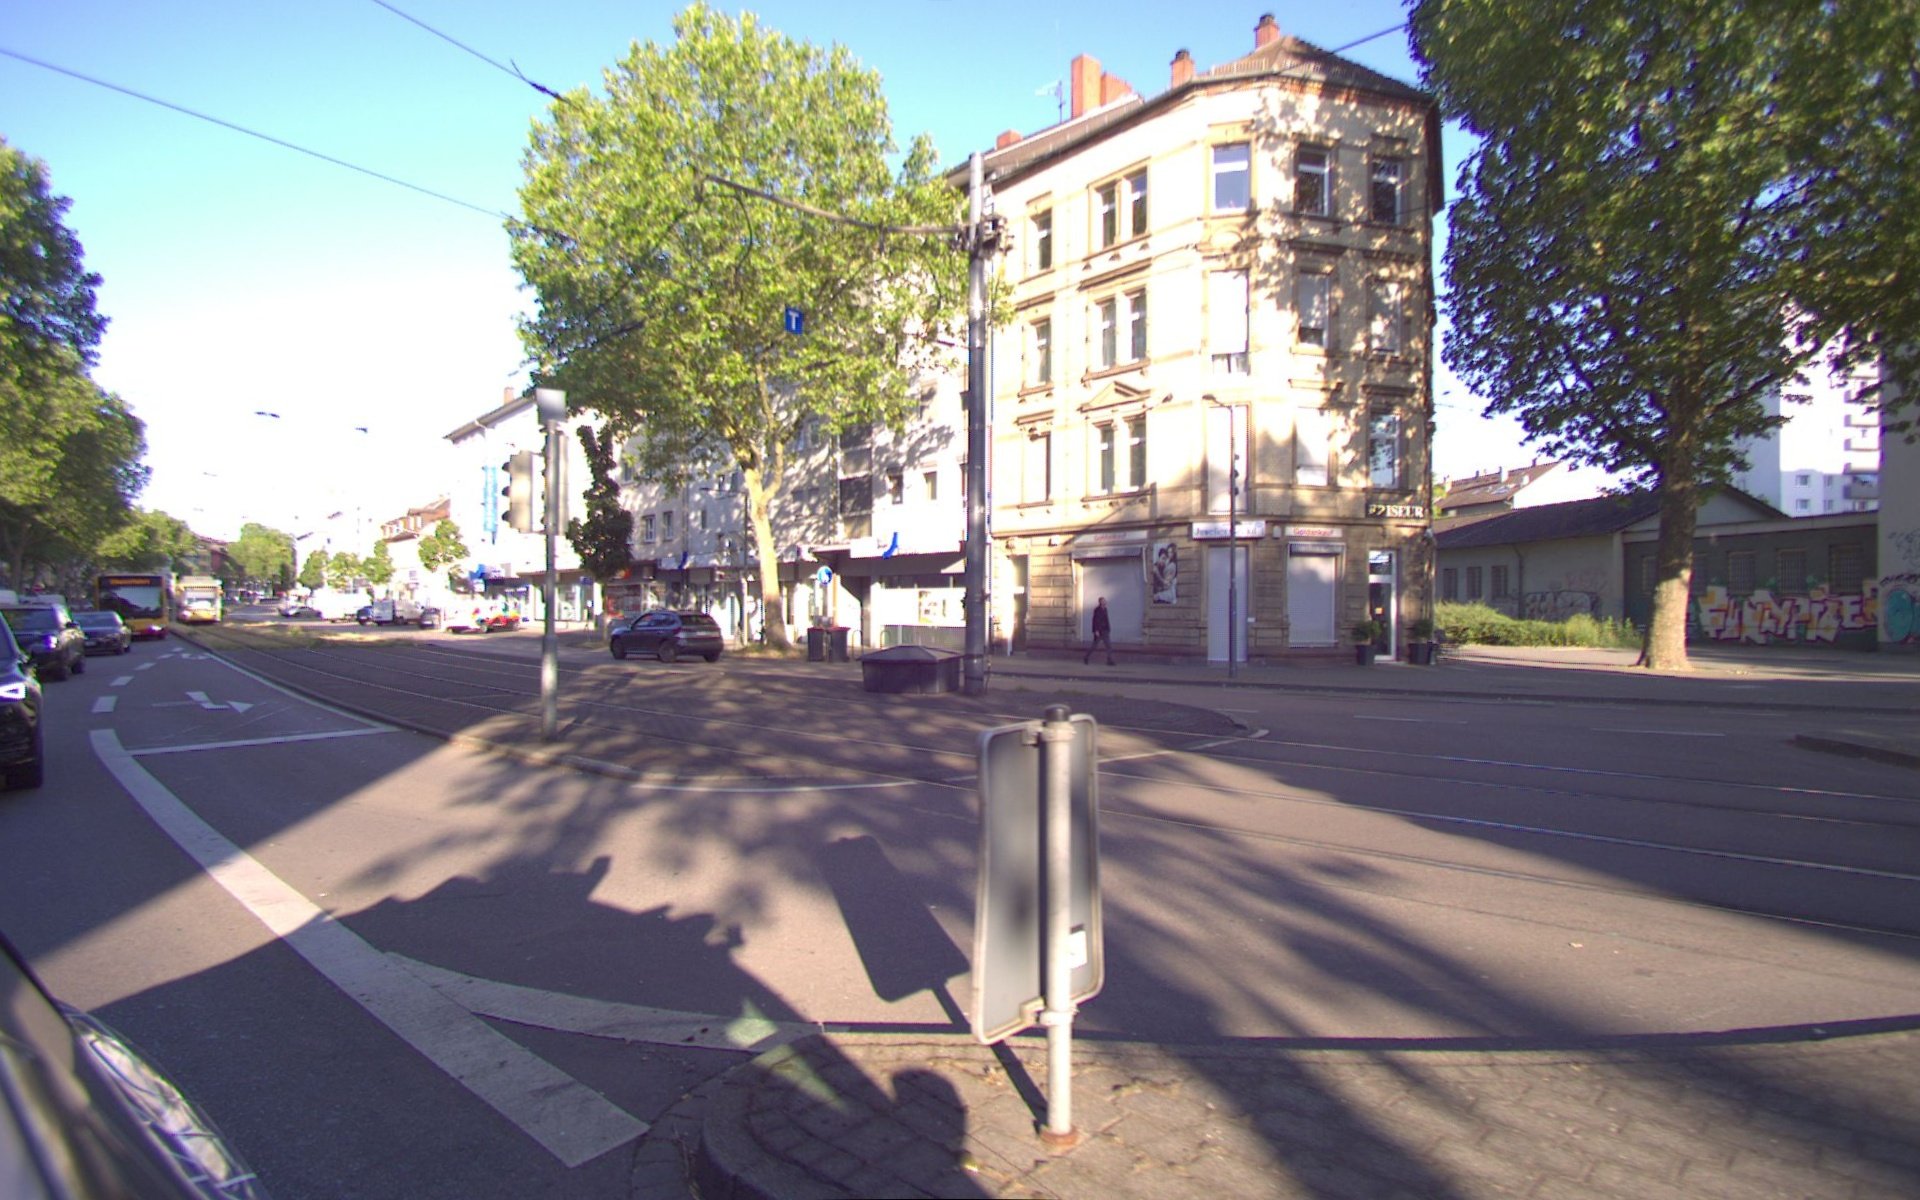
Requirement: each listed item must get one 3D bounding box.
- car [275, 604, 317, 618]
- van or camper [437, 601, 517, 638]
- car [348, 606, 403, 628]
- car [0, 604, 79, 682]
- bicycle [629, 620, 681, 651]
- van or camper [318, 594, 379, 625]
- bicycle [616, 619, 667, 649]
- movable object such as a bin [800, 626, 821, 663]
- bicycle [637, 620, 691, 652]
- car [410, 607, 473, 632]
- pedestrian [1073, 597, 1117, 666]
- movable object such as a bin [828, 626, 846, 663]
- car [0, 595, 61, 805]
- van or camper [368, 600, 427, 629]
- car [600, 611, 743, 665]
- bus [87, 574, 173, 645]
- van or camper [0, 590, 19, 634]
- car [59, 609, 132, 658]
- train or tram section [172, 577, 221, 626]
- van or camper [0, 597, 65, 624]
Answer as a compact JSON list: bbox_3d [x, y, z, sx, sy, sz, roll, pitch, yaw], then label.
[{"bbox_3d":[-79.447,1.288,121.115,1.761,1.501,3.880,-1,1,27],"label":"car"},{"bbox_3d":[-28.041,1.111,58.933,1.928,1.912,4.804,-1,1,7],"label":"van or camper"},{"bbox_3d":[-48.241,1.372,83.617,1.857,1.598,3.992,-1,1,7],"label":"car"},{"bbox_3d":[-20.599,0.885,22.215,1.633,1.593,4.008,0,-1,-37],"label":"car"},{"bbox_3d":[-11.869,1.354,39.414,1.871,1.133,0.535,-1,0,-42],"label":"bicycle"},{"bbox_3d":[-57.036,0.881,94.483,1.971,2.687,6.402,-2,1,-2],"label":"van or camper"},{"bbox_3d":[-12.696,1.356,40.360,1.871,1.133,0.535,-1,0,-42],"label":"bicycle"},{"bbox_3d":[-4.520,1.354,30.668,0.538,1.102,0.647,0,-1,0],"label":"movable object such as a bin"},{"bbox_3d":[-11.345,1.356,38.804,1.871,1.133,0.653,-1,0,-42],"label":"bicycle"},{"bbox_3d":[-34.819,1.295,68.046,1.746,1.501,4.447,-2,1,3],"label":"car"},{"bbox_3d":[3.608,0.827,27.097,0.610,1.801,0.973,-2,1,-35],"label":"pedestrian"},{"bbox_3d":[-3.650,1.312,30.013,0.470,1.102,0.574,0,-1,0],"label":"movable object such as a bin"},{"bbox_3d":[-9.347,0.799,9.121,1.781,1.660,4.006,0,0,-41],"label":"car"},{"bbox_3d":[-43.571,1.093,78.513,1.778,2.004,4.444,-1,1,5],"label":"van or camper"},{"bbox_3d":[-8.616,1.076,30.139,4.195,1.483,1.870,0,0,34],"label":"car"},{"bbox_3d":[-39.980,0.296,48.801,2.829,3.001,12.262,-2,2,-39],"label":"bus"},{"bbox_3d":[-56.514,0.678,56.746,1.978,2.488,5.446,0,0,10],"label":"van or camper"},{"bbox_3d":[-28.621,1.061,33.597,1.633,1.497,4.169,0,-1,-37],"label":"car"},{"bbox_3d":[-57.176,0.124,75.975,2.597,3.476,11.156,-1,0,-36],"label":"train or tram section"},{"bbox_3d":[-86.240,0.965,93.448,1.976,2.488,5.450,0,0,7],"label":"van or camper"}]
